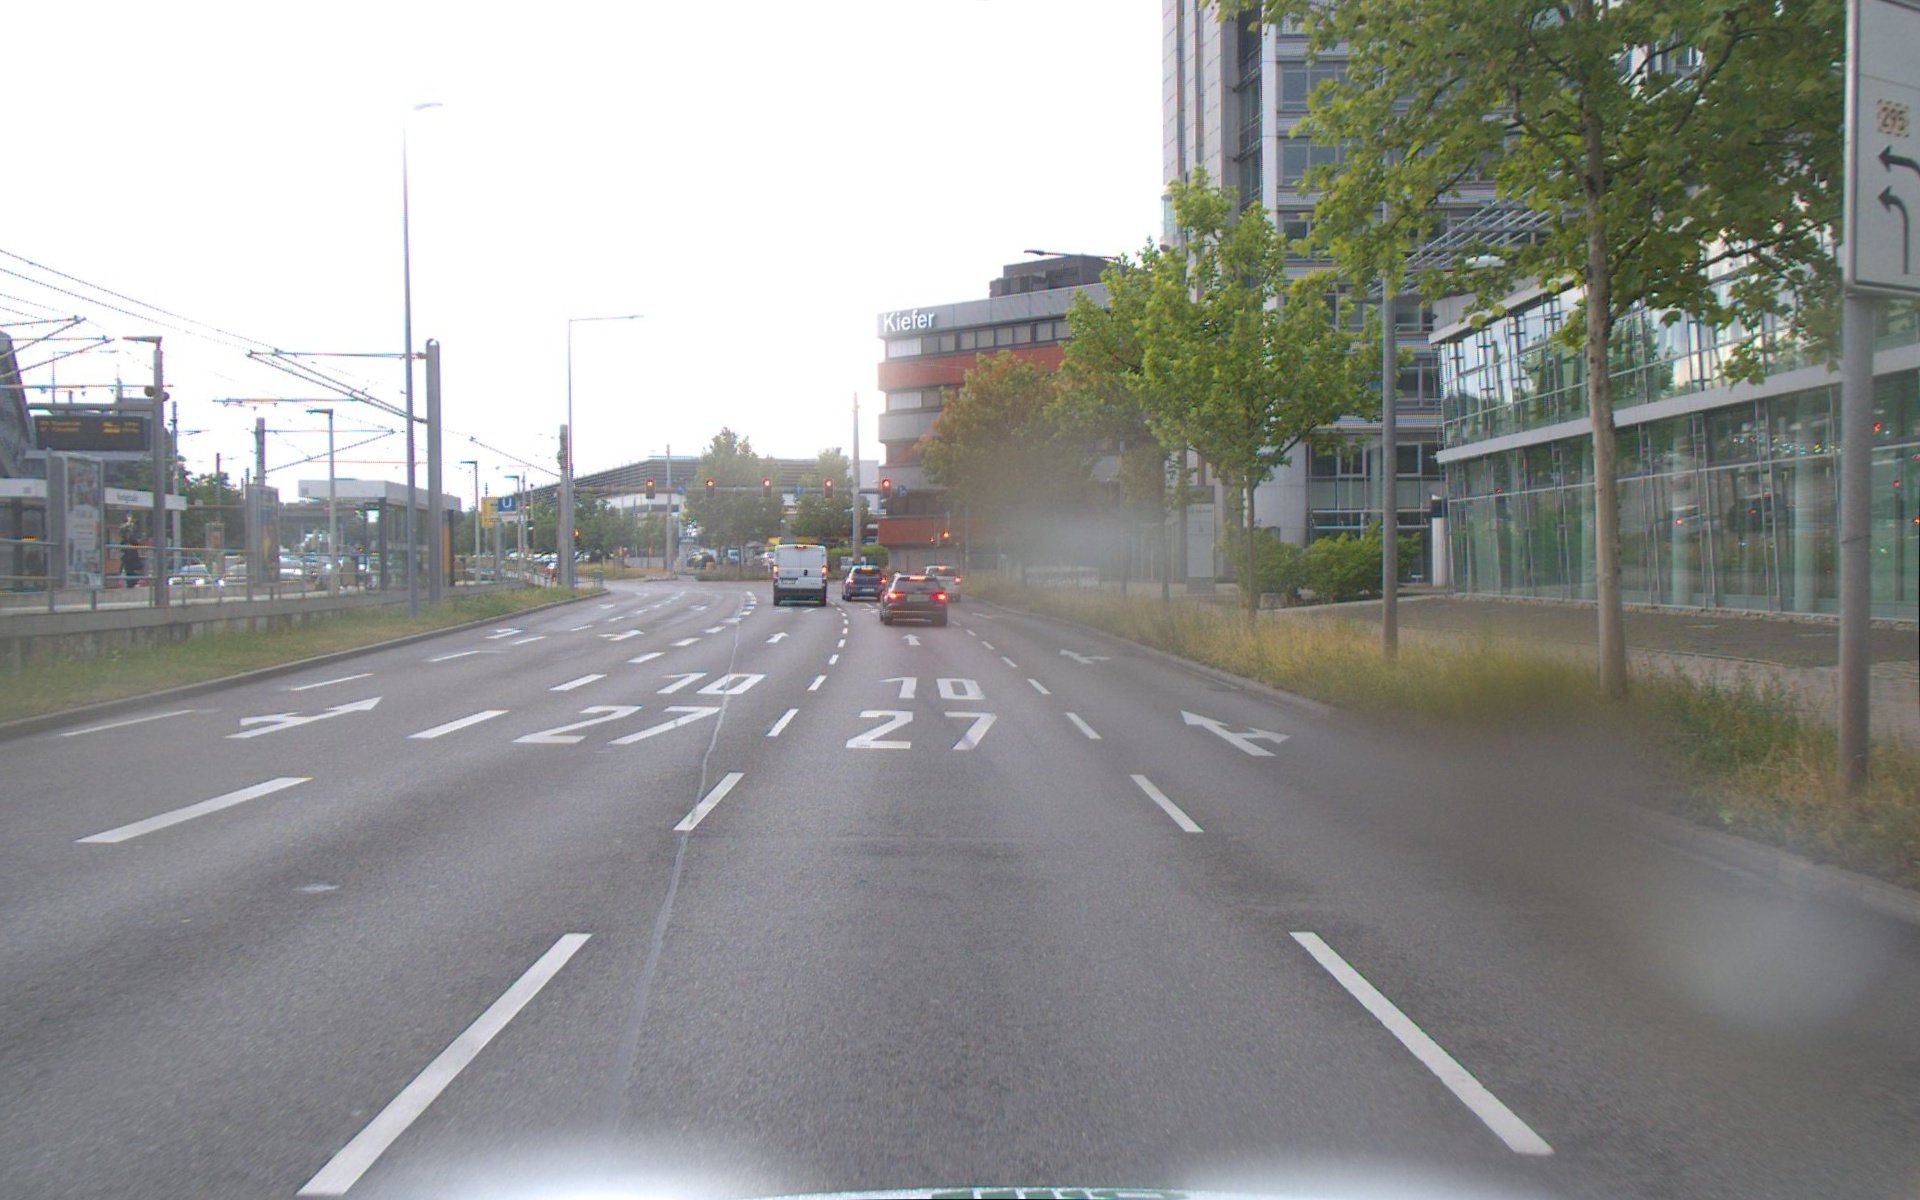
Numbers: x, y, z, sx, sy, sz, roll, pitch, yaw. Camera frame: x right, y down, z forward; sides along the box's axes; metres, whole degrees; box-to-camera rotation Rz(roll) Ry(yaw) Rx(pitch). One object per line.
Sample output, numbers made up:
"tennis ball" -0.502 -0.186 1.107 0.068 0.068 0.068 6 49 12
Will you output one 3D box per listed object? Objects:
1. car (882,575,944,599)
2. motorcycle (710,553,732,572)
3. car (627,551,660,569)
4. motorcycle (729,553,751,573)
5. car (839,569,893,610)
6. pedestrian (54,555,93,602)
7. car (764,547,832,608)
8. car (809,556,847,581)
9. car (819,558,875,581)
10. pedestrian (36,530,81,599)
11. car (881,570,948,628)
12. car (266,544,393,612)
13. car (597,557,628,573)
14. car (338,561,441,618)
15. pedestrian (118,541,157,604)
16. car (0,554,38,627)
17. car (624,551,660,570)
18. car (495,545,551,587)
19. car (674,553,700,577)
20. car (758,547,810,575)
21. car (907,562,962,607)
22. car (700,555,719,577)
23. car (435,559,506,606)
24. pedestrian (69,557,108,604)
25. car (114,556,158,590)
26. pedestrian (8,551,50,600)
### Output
"car" -3.348 -0.911 117.363 4.251 1.651 2.014 1 -1 44
"motorcycle" -28.404 -4.442 196.366 1.961 2.049 3.981 2 -3 -16
"car" -41.826 -5.251 218.586 3.933 2.049 1.985 2 -3 -23
"motorcycle" -26.228 -4.398 197.044 1.961 2.049 3.981 2 -3 -16
"car" -3.995 -0.429 69.793 1.983 1.651 3.993 1 0 -8
"pedestrian" -24.560 -0.591 45.818 0.713 1.275 0.730 1 -1 -8
"car" -6.152 -0.832 63.504 2.462 2.215 5.144 1 0 -5
"car" -12.311 -2.931 153.807 1.973 2.049 3.958 2 -3 -31
"car" -8.389 -2.271 122.662 3.931 1.651 2.014 1 -1 44
"pedestrian" -23.322 -0.901 42.790 0.715 1.745 0.830 1 -1 -5
"car" -1.250 -0.066 47.181 1.728 1.488 4.627 1 2 0
"car" -15.348 -0.578 40.474 1.955 1.477 3.844 1 3 -6
"car" -49.154 -4.896 233.728 3.933 2.049 1.985 2 -3 -23
"car" -16.319 -0.272 47.509 1.955 1.478 3.842 1 -2 -6
"pedestrian" -23.789 -0.784 47.849 0.738 1.782 0.763 1 -3 -6
"car" -18.913 -0.187 30.840 1.823 1.359 3.330 1 1 -6
"car" -38.826 -4.787 201.990 3.933 2.049 1.985 2 -3 -23
"car" -21.327 -1.629 80.879 1.955 1.840 3.842 4 0 -6
"car" -26.022 -3.318 157.598 1.962 2.049 3.980 1 -3 -17
"car" -13.901 -3.100 130.570 3.931 2.049 1.987 1 -1 44
"car" -1.105 -0.664 70.039 1.982 1.800 3.995 1 1 -6
"car" -26.211 -3.532 173.315 1.785 2.049 3.460 1 -3 -11
"car" -19.606 -0.665 66.368 1.955 1.704 3.842 4 -1 -6
"pedestrian" -24.663 -0.544 46.812 0.713 1.275 0.730 1 -1 -8
"car" -57.063 -1.852 114.454 1.979 2.049 3.946 3 -4 -37
"pedestrian" -24.772 -0.643 44.023 0.713 1.275 0.730 1 -1 -8
